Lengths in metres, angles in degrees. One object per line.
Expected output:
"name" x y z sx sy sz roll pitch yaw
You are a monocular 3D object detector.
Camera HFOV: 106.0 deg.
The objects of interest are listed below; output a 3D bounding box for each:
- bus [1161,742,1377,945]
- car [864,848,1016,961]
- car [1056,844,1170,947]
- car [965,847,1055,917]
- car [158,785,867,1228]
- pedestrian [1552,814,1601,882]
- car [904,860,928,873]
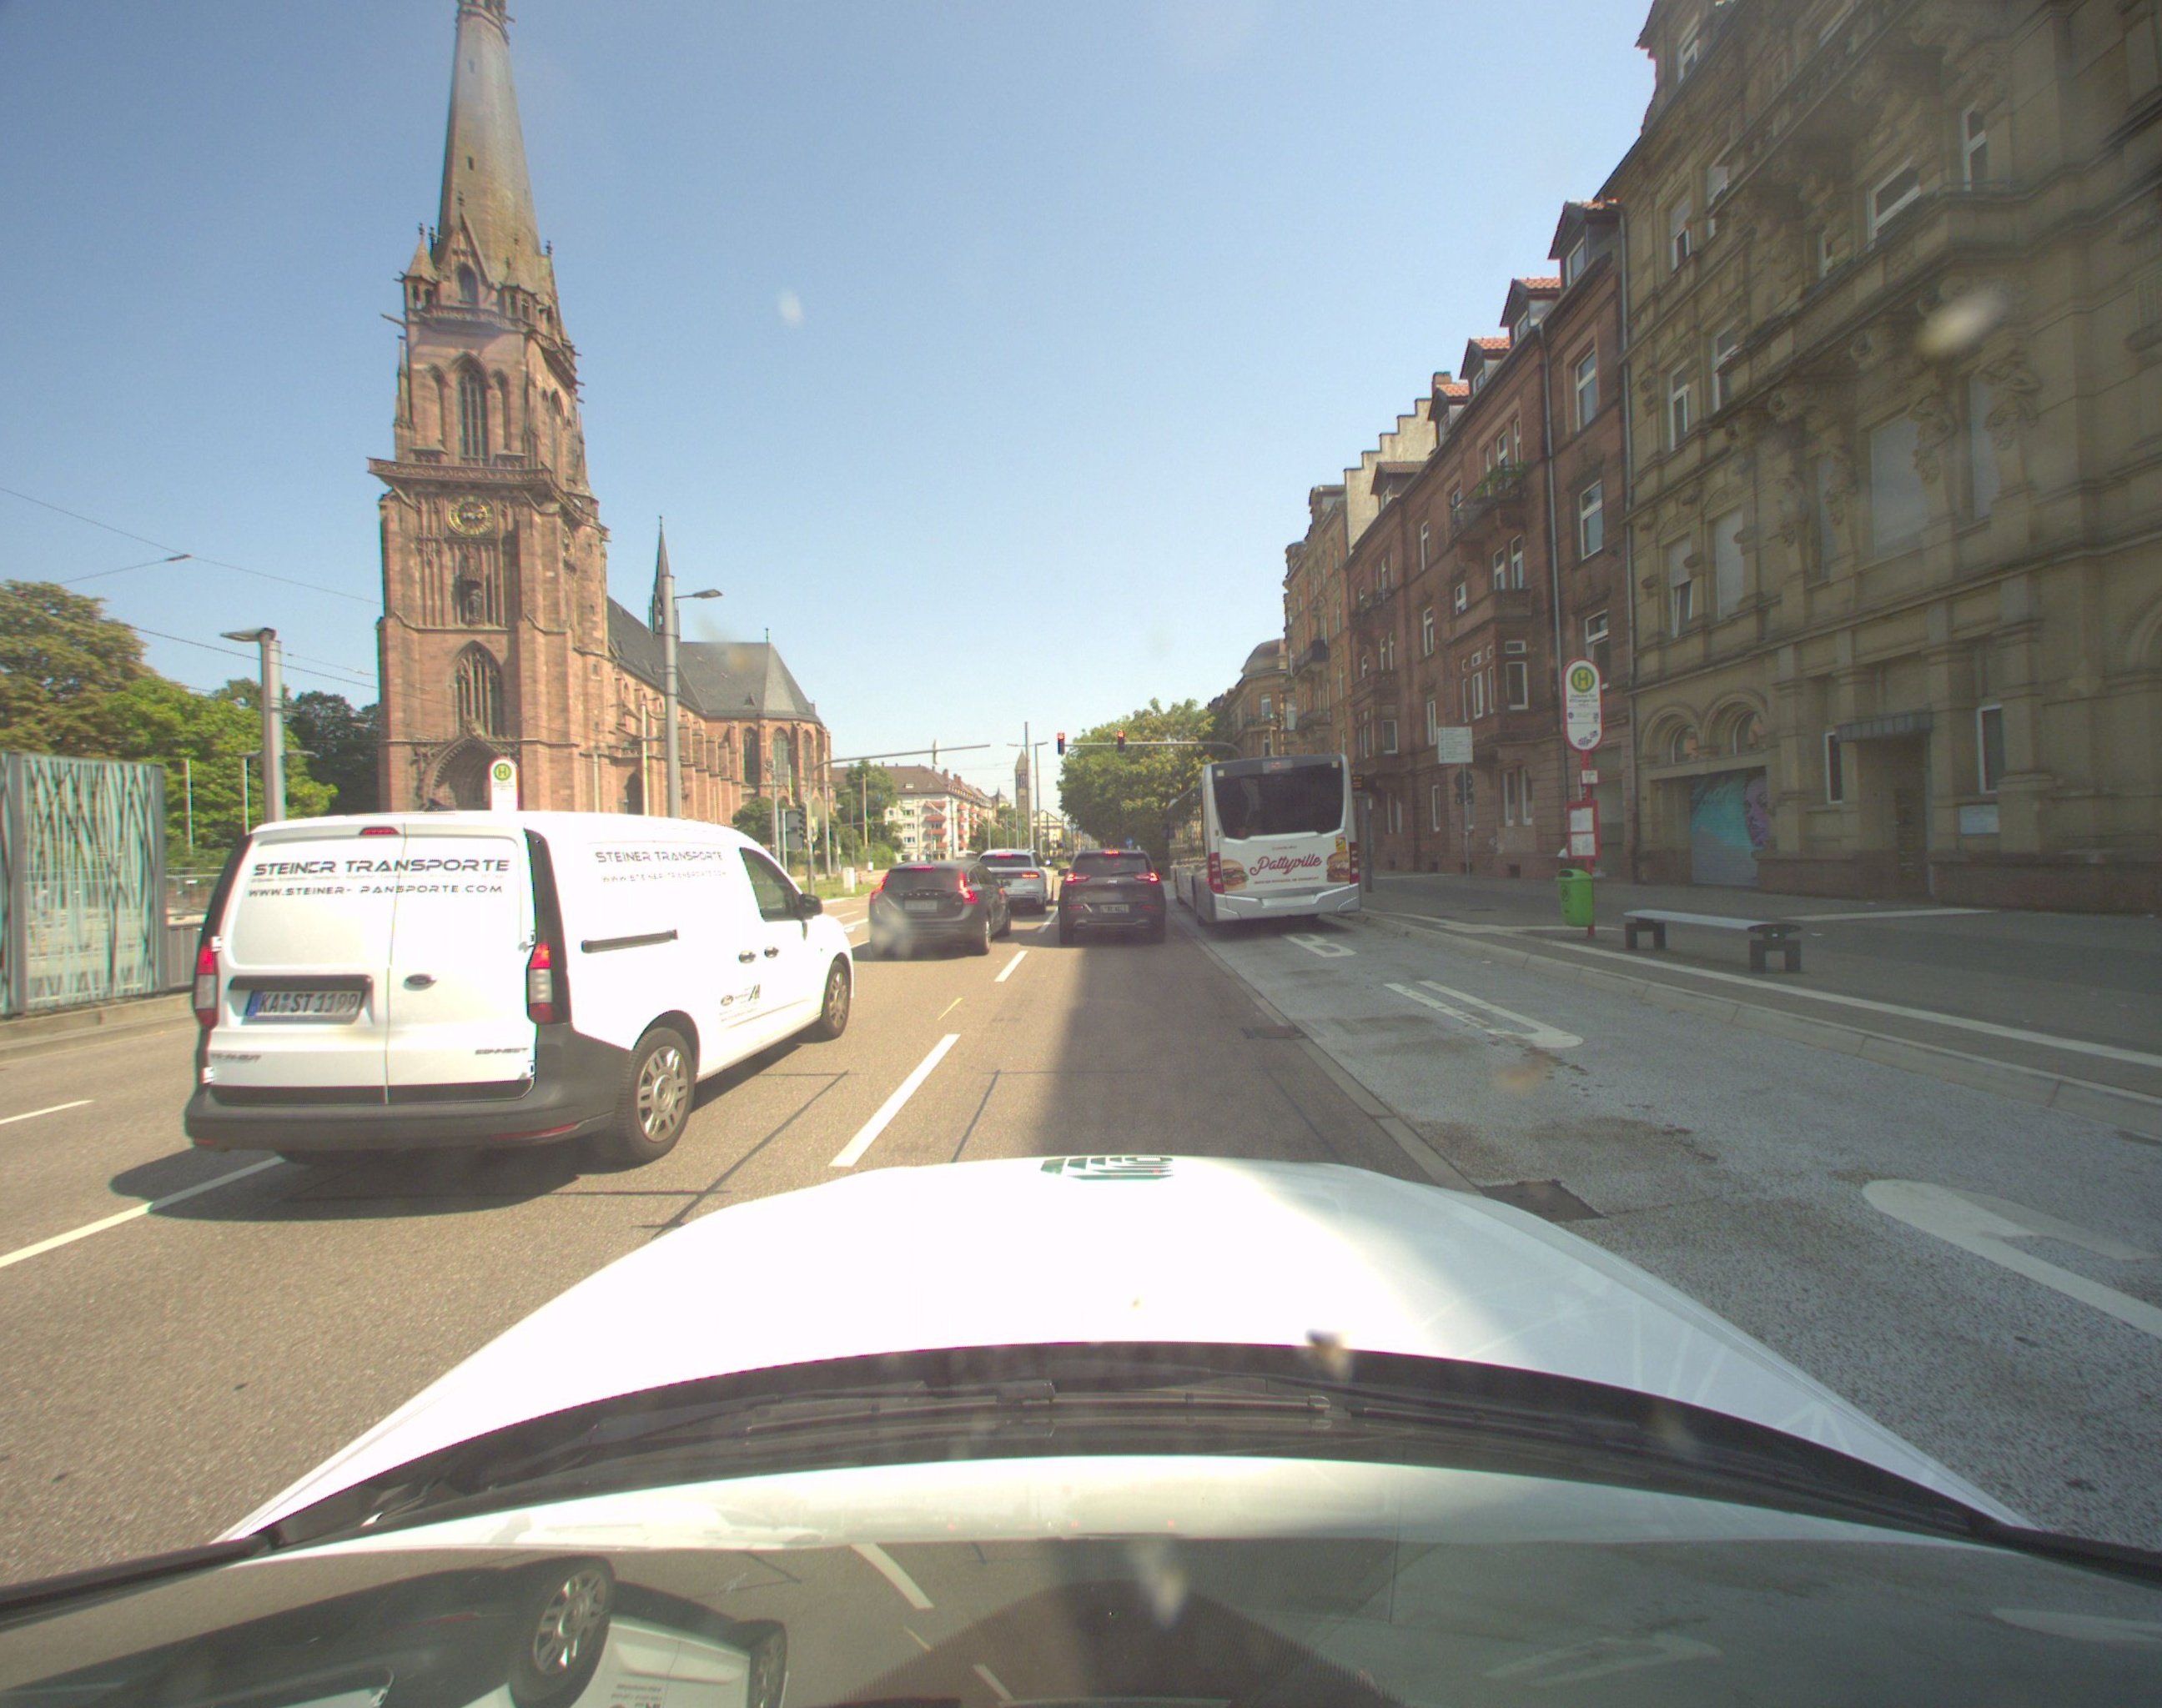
"bus" 3.657 -0.164 19.350 2.732 3.107 11.964 -5 0 3
"car" -2.216 0.727 13.980 1.741 1.614 4.309 -1 0 1
"car" 0.600 0.662 15.360 1.825 1.651 4.311 -1 0 2
"car" -1.775 0.655 21.787 1.895 1.651 4.309 -1 0 1
"car" -2.943 0.637 5.534 1.741 1.820 4.240 -1 0 1
"pedestrian" 13.288 -0.169 21.849 0.872 1.778 0.737 -2 0 -26
"car" -21.121 1.537 104.308 1.738 1.435 4.579 -4 0 4
